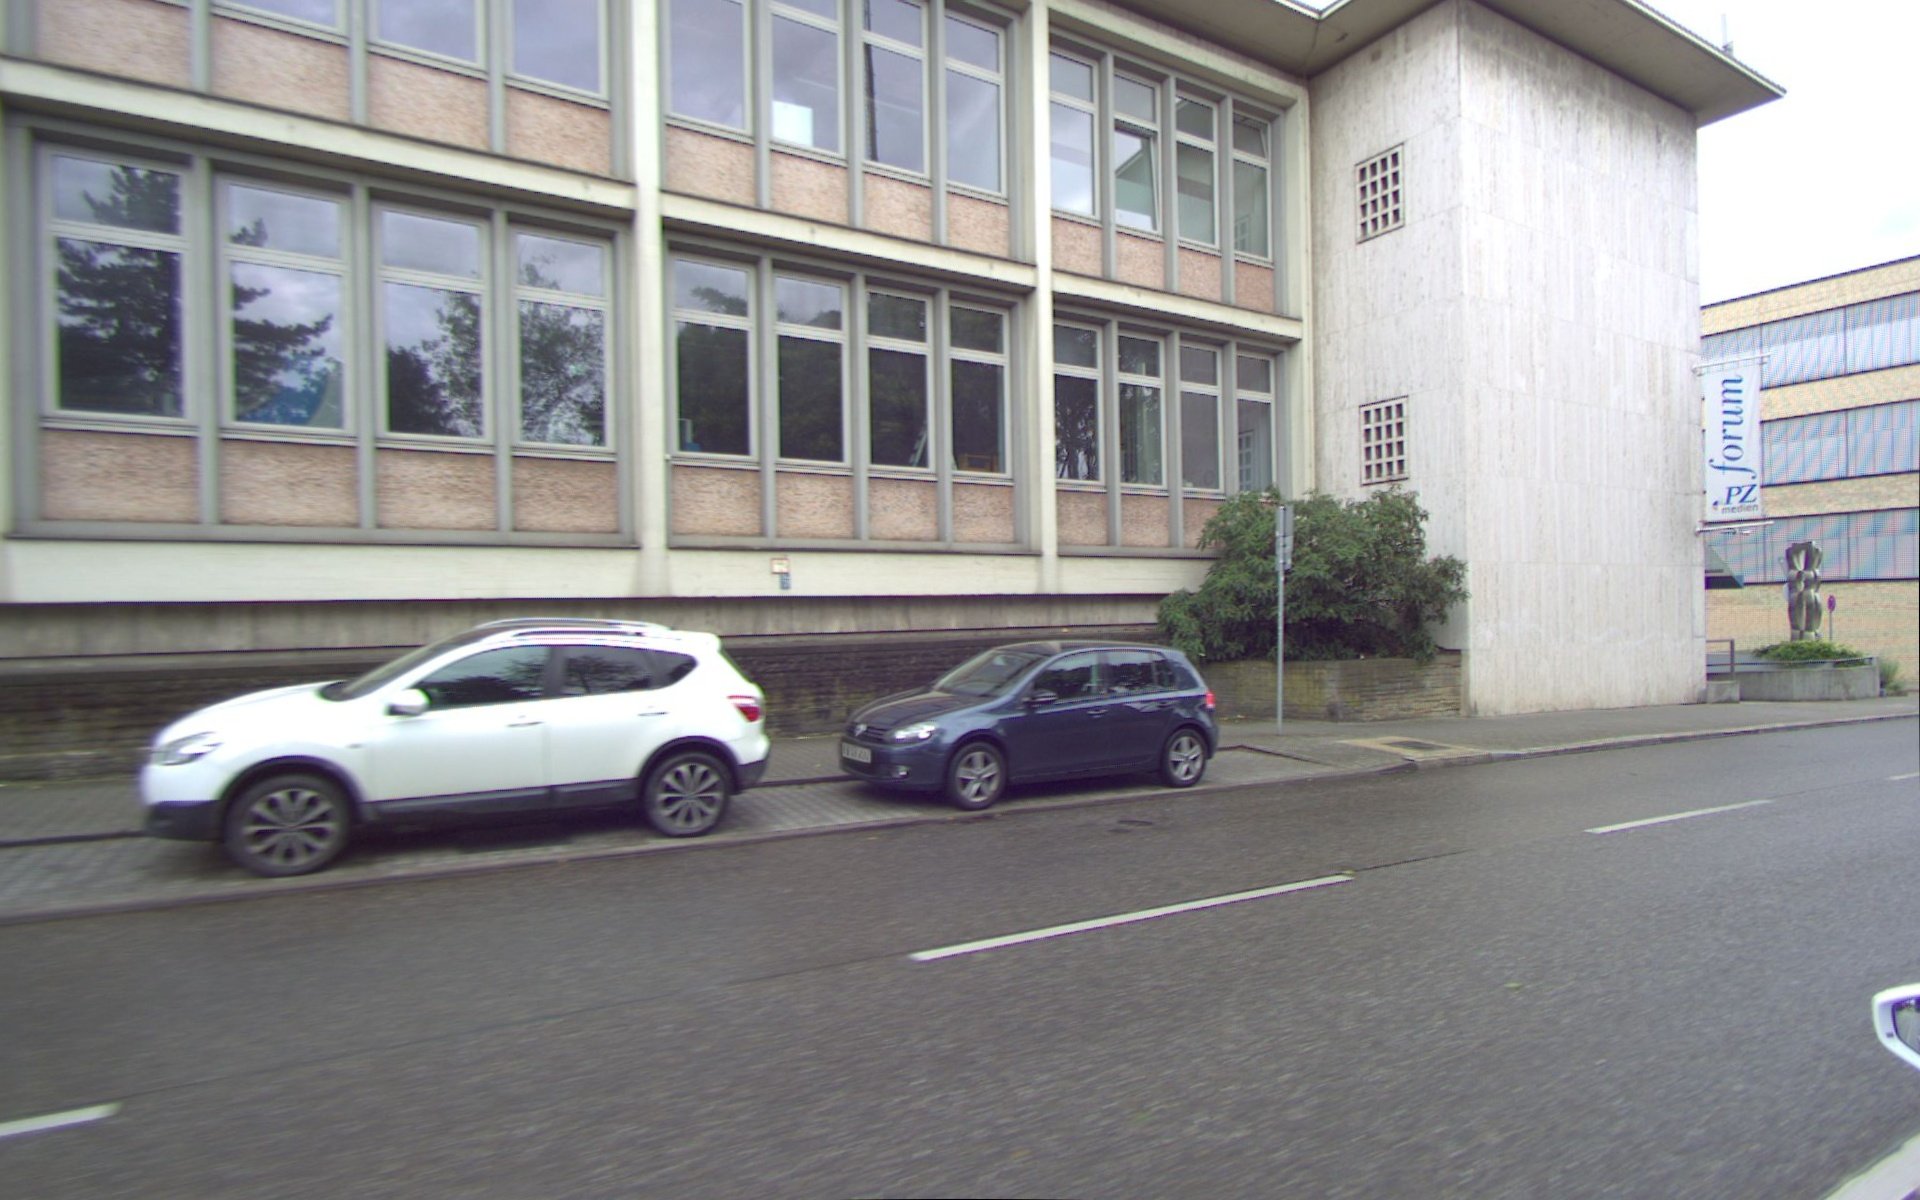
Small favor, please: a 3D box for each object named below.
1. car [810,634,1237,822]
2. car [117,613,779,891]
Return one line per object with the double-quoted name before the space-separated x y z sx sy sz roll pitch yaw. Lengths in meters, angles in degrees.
"car" 0.725 1.141 10.304 4.134 1.499 1.738 1 0 -32
"car" -3.685 0.951 7.815 4.133 1.619 1.739 1 0 -31
